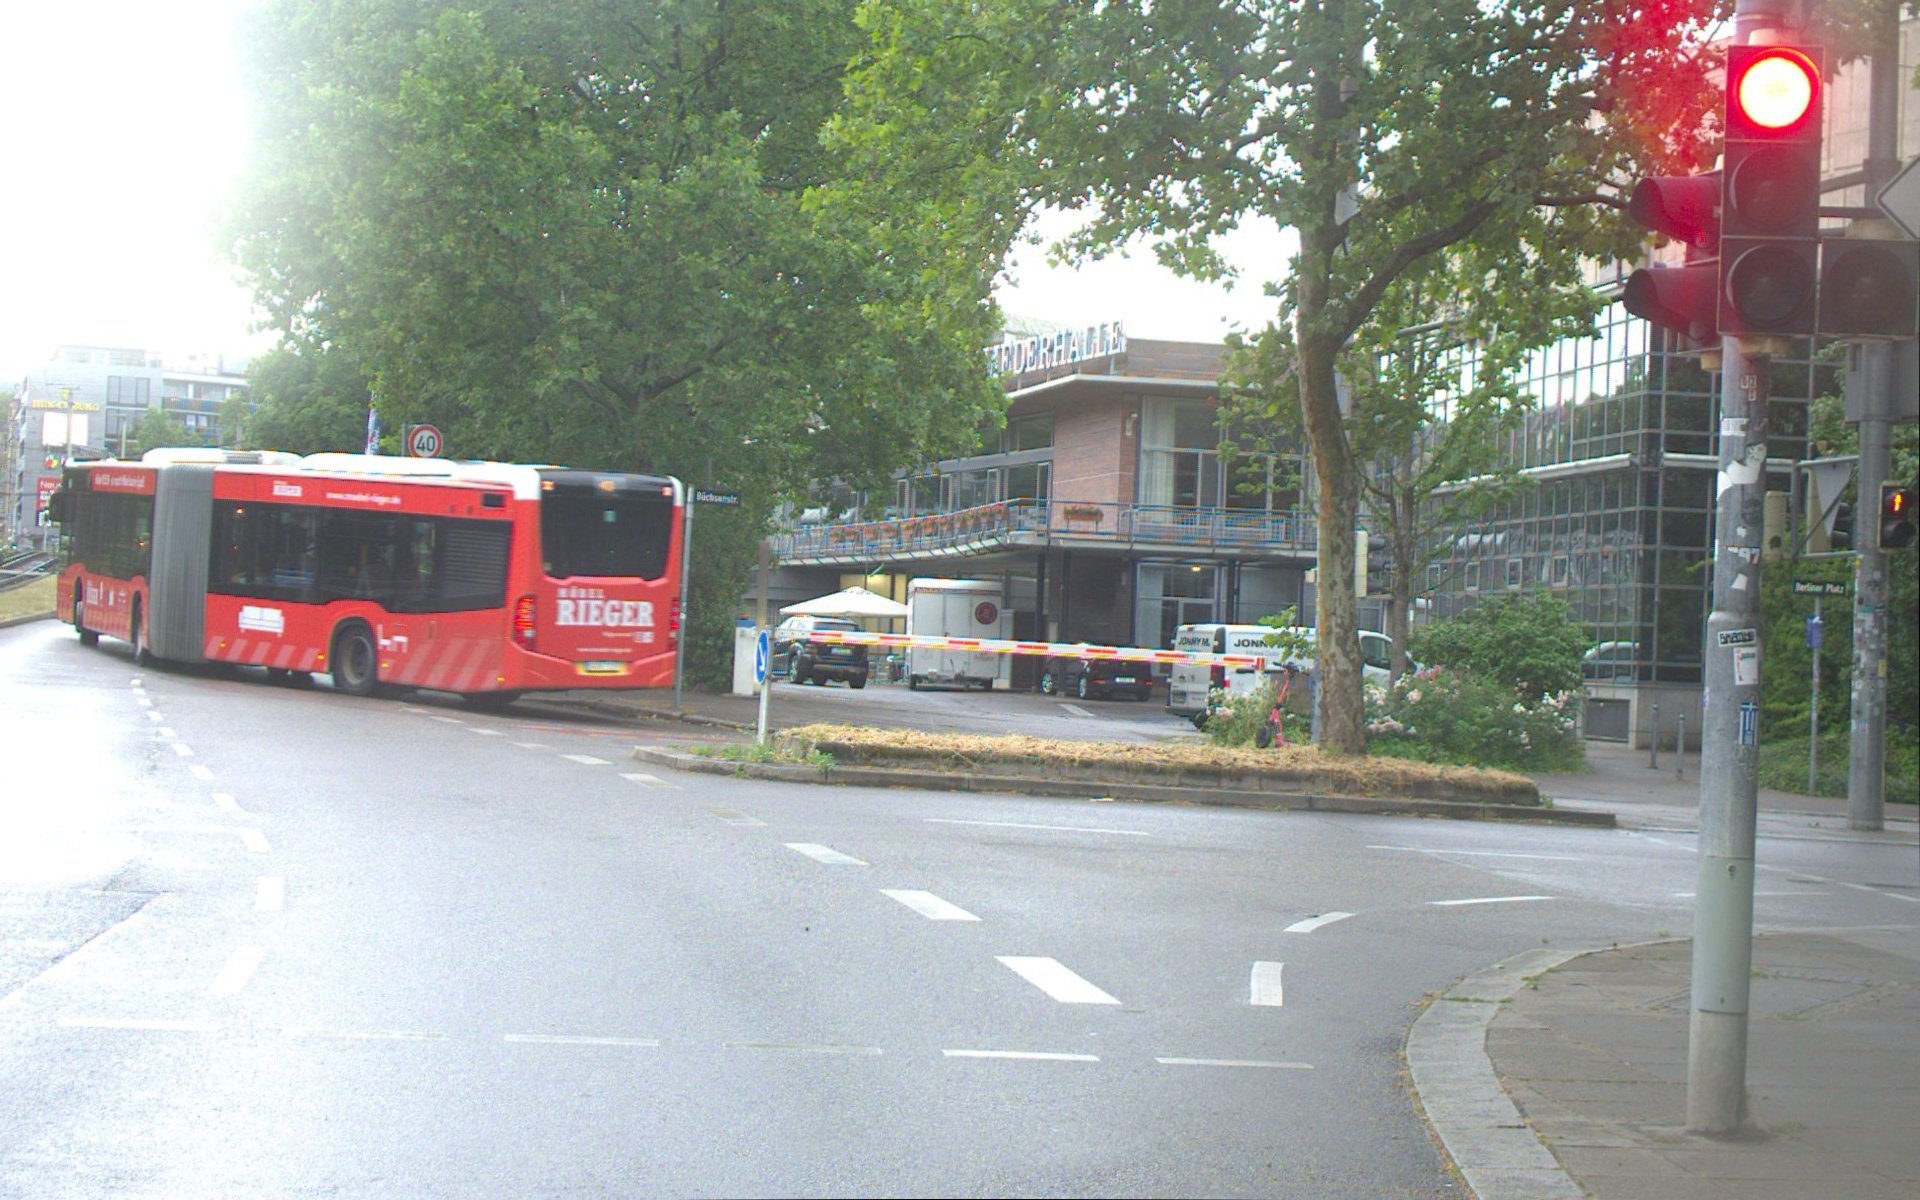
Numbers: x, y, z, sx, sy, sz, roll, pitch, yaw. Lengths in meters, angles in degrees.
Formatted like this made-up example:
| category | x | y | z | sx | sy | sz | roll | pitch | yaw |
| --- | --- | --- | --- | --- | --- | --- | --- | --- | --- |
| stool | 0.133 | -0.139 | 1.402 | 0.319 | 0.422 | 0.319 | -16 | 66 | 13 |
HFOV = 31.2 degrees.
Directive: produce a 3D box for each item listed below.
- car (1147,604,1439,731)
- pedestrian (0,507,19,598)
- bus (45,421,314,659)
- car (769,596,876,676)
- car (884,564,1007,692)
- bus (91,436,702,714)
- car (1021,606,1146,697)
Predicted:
| category | x | y | z | sx | sy | sz | roll | pitch | yaw |
| --- | --- | --- | --- | --- | --- | --- | --- | --- | --- |
| car | 6.032 | 1.217 | 62.271 | 4.745 | 1.937 | 2.001 | 4 | -1 | -22 |
| pedestrian | -17.584 | -0.873 | 62.338 | 0.738 | 1.634 | 0.871 | 4 | -1 | -4 |
| bus | -11.924 | -0.896 | 51.863 | 2.549 | 3.100 | 9.458 | 4 | -1 | -20 |
| car | -3.552 | 0.913 | 88.142 | 1.993 | 1.853 | 4.001 | 4 | -1 | -12 |
| car | -0.420 | 0.728 | 90.773 | 2.544 | 3.123 | 5.032 | 4 | -1 | -6 |
| bus | -7.553 | -0.416 | 44.928 | 9.179 | 3.100 | 2.657 | 4 | -1 | 43 |
| car | 3.000 | 1.246 | 84.697 | 1.993 | 2.007 | 4.001 | 4 | -1 | -13 |
